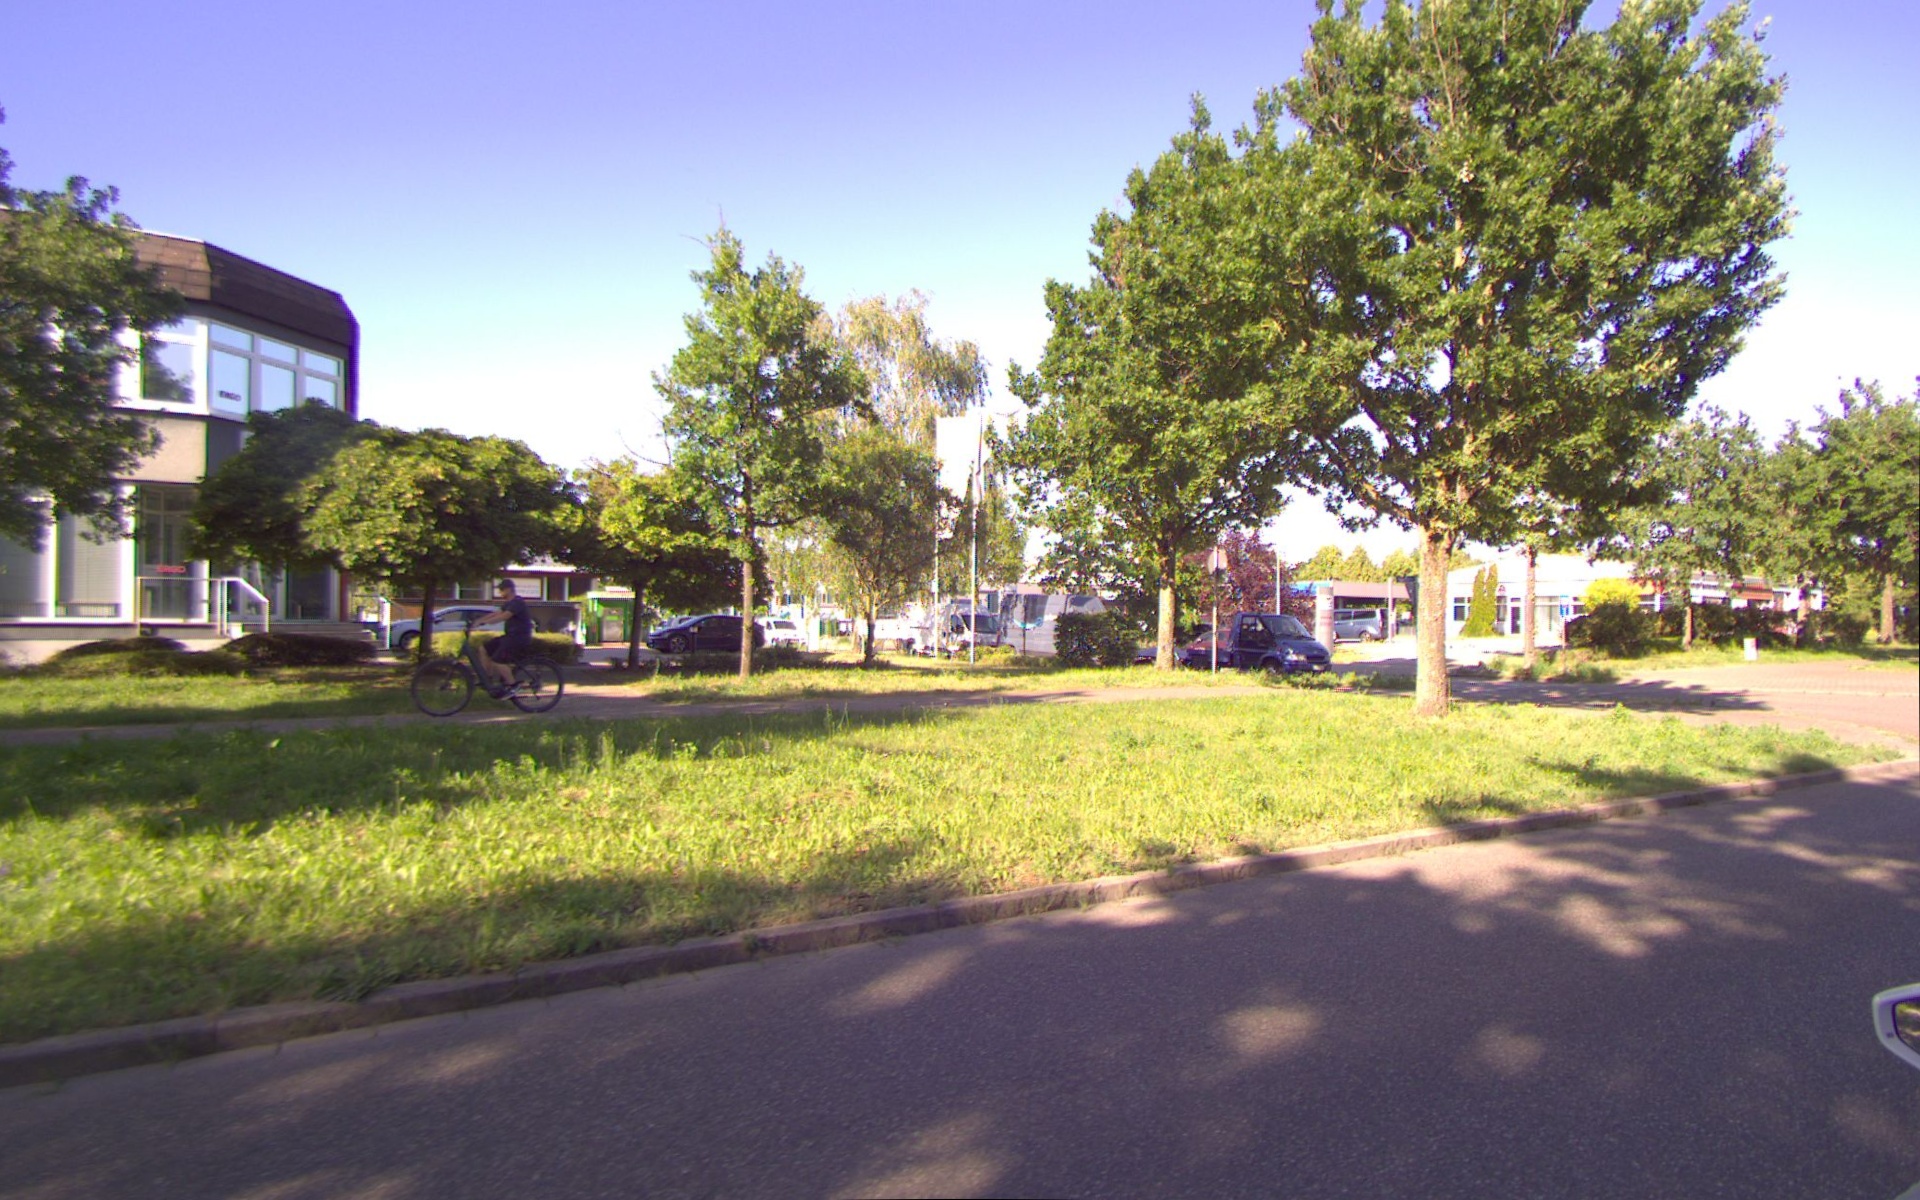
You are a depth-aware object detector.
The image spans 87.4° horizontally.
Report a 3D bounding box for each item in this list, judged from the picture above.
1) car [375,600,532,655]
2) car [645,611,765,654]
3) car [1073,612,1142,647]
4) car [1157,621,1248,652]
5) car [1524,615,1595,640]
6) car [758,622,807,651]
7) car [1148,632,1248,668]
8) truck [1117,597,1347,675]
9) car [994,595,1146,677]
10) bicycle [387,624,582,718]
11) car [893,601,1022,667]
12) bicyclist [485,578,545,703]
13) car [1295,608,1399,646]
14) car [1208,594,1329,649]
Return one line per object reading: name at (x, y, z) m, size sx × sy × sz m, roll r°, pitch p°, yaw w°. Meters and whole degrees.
car at (-16.165, 0.877, 32.108) m, size 4.254 × 1.514 × 1.982 m, roll 4°, pitch -1°, yaw -33°
car at (-10.267, 1.322, 40.563) m, size 4.254 × 1.514 × 1.982 m, roll 4°, pitch -1°, yaw -33°
car at (9.277, 1.849, 63.337) m, size 1.867 × 1.992 × 4.210 m, roll 2°, pitch 0°, yaw -35°
car at (12.824, 1.920, 53.317) m, size 1.867 × 1.571 × 4.615 m, roll 1°, pitch -1°, yaw -35°
car at (38.126, 1.707, 63.902) m, size 1.578 × 1.517 × 3.570 m, roll 2°, pitch -2°, yaw -37°
car at (-10.235, 2.071, 57.748) m, size 1.497 × 1.594 × 3.109 m, roll 1°, pitch -1°, yaw -38°
car at (10.393, 2.145, 44.102) m, size 1.807 × 1.501 × 4.163 m, roll 1°, pitch -2°, yaw -35°
truck at (8.170, 1.021, 31.069) m, size 2.121 × 2.077 × 7.059 m, roll 2°, pitch 0°, yaw -37°
car at (3.932, 1.245, 37.205) m, size 2.279 × 2.738 × 5.822 m, roll 2°, pitch 0°, yaw -35°
bicycle at (-6.356, 0.936, 13.512) m, size 2.307 × 1.177 × 0.548 m, roll 2°, pitch 0°, yaw -30°
car at (-0.235, 1.388, 43.056) m, size 2.279 × 2.549 × 6.295 m, roll 2°, pitch 0°, yaw -35°
bicyclist at (-6.072, 0.540, 13.704) m, size 0.651 × 1.650 × 0.661 m, roll 2°, pitch 0°, yaw -30°
car at (22.583, 1.571, 58.779) m, size 2.278 × 2.097 × 5.373 m, roll 1°, pitch -1°, yaw -35°
car at (16.519, 1.085, 54.131) m, size 2.279 × 2.738 × 6.118 m, roll 2°, pitch 0°, yaw -35°
